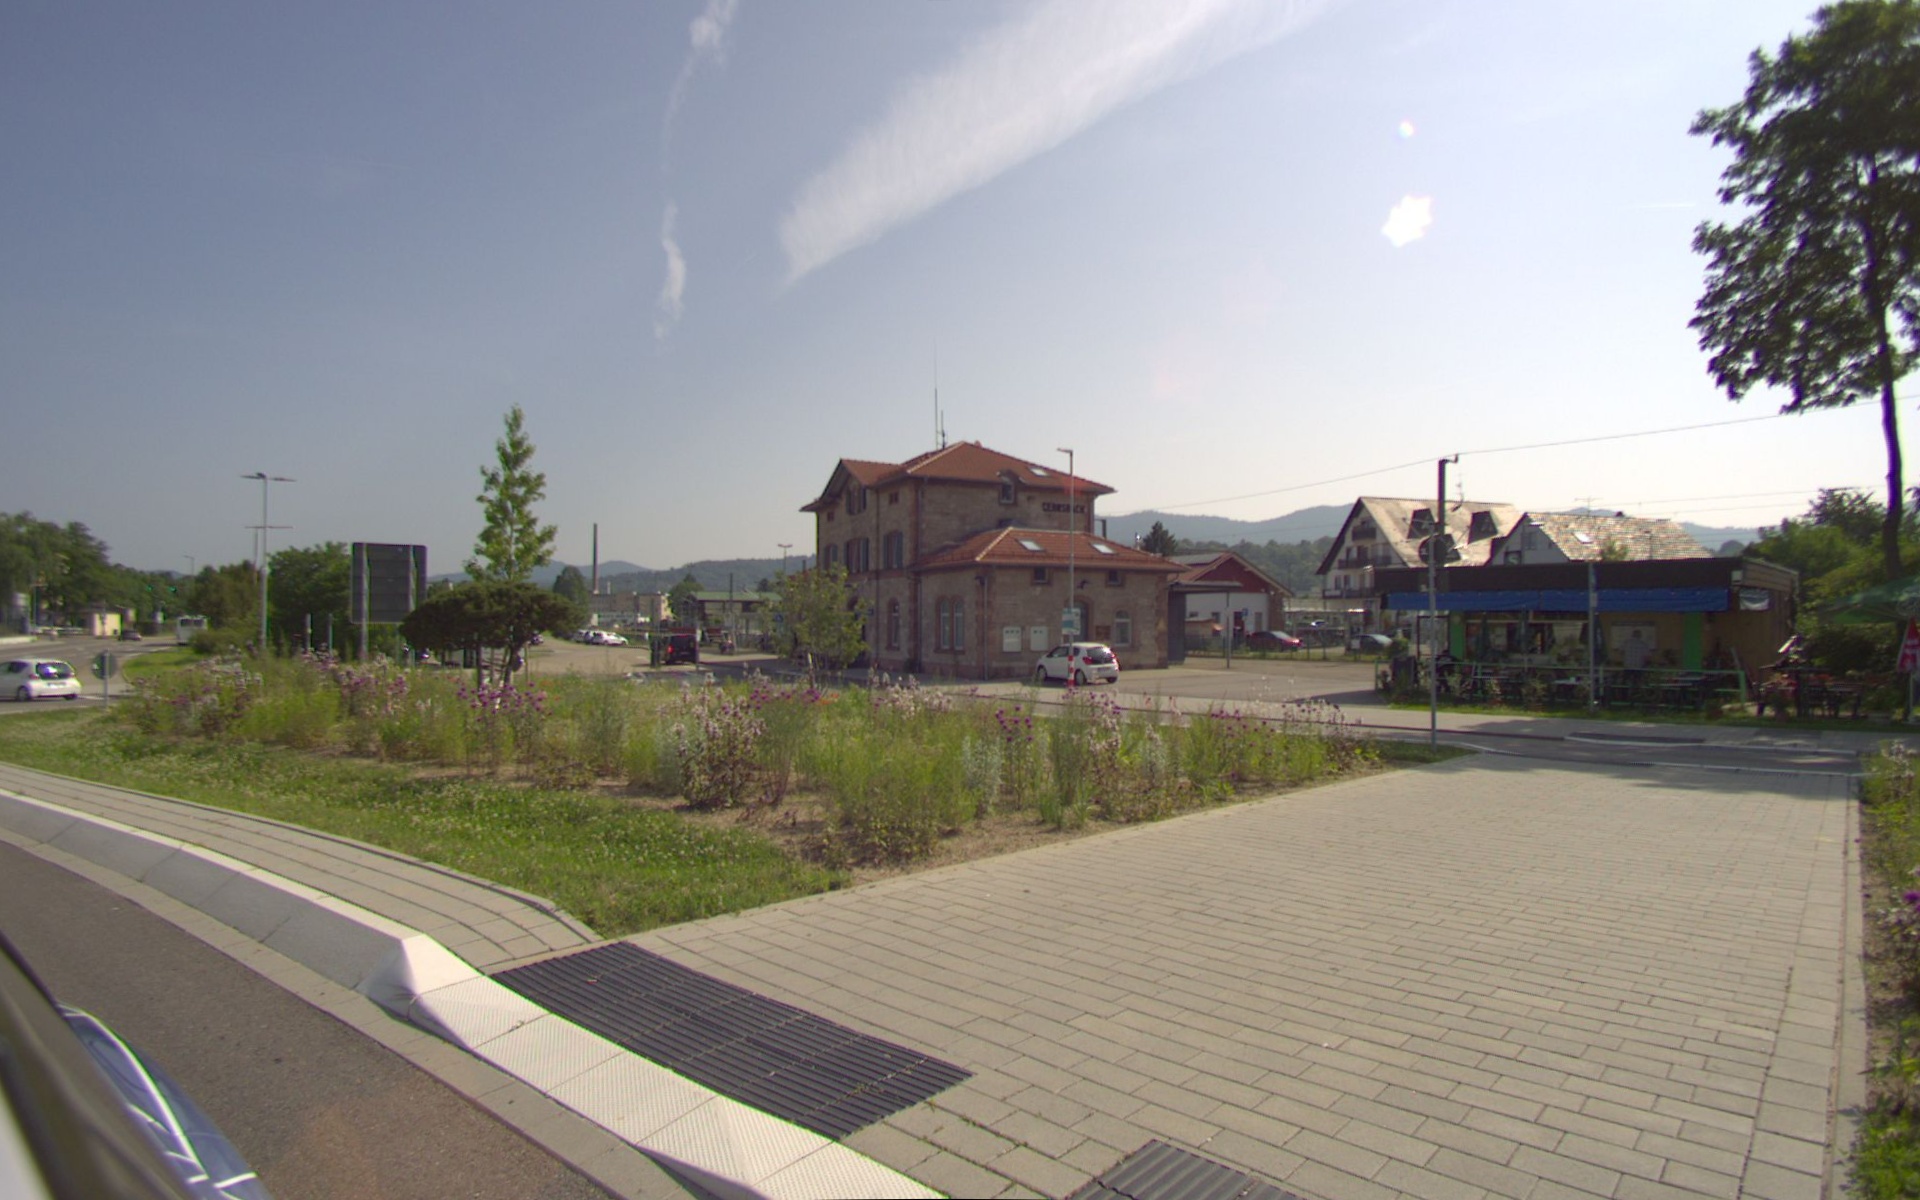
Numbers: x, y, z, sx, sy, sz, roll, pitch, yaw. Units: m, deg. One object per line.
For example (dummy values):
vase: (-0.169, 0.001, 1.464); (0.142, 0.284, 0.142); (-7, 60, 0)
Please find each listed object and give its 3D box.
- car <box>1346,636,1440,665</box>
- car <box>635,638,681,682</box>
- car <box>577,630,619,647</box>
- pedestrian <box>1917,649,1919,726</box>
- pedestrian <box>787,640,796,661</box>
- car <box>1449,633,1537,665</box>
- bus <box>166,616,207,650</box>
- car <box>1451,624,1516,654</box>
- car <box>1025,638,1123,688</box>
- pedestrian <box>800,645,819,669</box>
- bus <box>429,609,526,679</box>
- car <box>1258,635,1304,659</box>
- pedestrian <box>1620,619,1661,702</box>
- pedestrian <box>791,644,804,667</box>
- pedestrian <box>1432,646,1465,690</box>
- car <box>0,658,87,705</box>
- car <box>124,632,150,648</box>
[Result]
car: (20.034, 2.339, 46.903); (1.406, 1.186, 3.747); (-2, -1, -39)
car: (-15.652, 3.030, 52.267); (1.944, 1.979, 5.174); (-2, 0, -19)
car: (-40.235, 4.282, 112.463); (1.838, 1.740, 3.943); (-2, 0, 43)
pedestrian: (19.606, 1.788, 20.177); (0.566, 1.602, 0.644); (-2, 0, 28)
pedestrian: (-9.756, 2.910, 58.645); (0.365, 1.171, 0.508); (-2, 0, -27)
car: (30.085, 2.761, 57.269); (1.753, 1.630, 4.011); (-2, -1, -32)
bus: (-77.866, 3.326, 102.001); (2.822, 3.216, 9.141); (-1, -1, -34)
car: (35.032, 2.582, 67.750); (3.931, 1.740, 1.844); (-2, 0, -27)
car: (4.194, 2.289, 37.675); (1.651, 1.580, 3.661); (-2, 1, -33)
pedestrian: (-7.707, 2.920, 51.866); (0.777, 1.171, 0.508); (-2, 0, -27)
bus: (-26.437, 2.320, 55.112); (2.547, 3.354, 10.611); (-2, 0, -37)
car: (24.126, 3.513, 76.155); (1.580, 1.506, 3.661); (-2, 1, -13)
pedestrian: (17.168, 1.522, 25.544); (0.706, 2.029, 0.850); (-2, 0, 28)
pedestrian: (-8.636, 2.938, 53.900); (0.503, 1.171, 0.508); (-2, 0, -27)
pedestrian: (13.570, 1.890, 28.130); (0.680, 1.173, 0.552); (-2, 0, 40)
car: (-32.454, 2.807, 34.713); (3.959, 1.408, 1.775); (-2, 0, 12)
car: (-98.745, 4.775, 121.404); (4.001, 1.807, 1.859); (-2, 0, 44)
